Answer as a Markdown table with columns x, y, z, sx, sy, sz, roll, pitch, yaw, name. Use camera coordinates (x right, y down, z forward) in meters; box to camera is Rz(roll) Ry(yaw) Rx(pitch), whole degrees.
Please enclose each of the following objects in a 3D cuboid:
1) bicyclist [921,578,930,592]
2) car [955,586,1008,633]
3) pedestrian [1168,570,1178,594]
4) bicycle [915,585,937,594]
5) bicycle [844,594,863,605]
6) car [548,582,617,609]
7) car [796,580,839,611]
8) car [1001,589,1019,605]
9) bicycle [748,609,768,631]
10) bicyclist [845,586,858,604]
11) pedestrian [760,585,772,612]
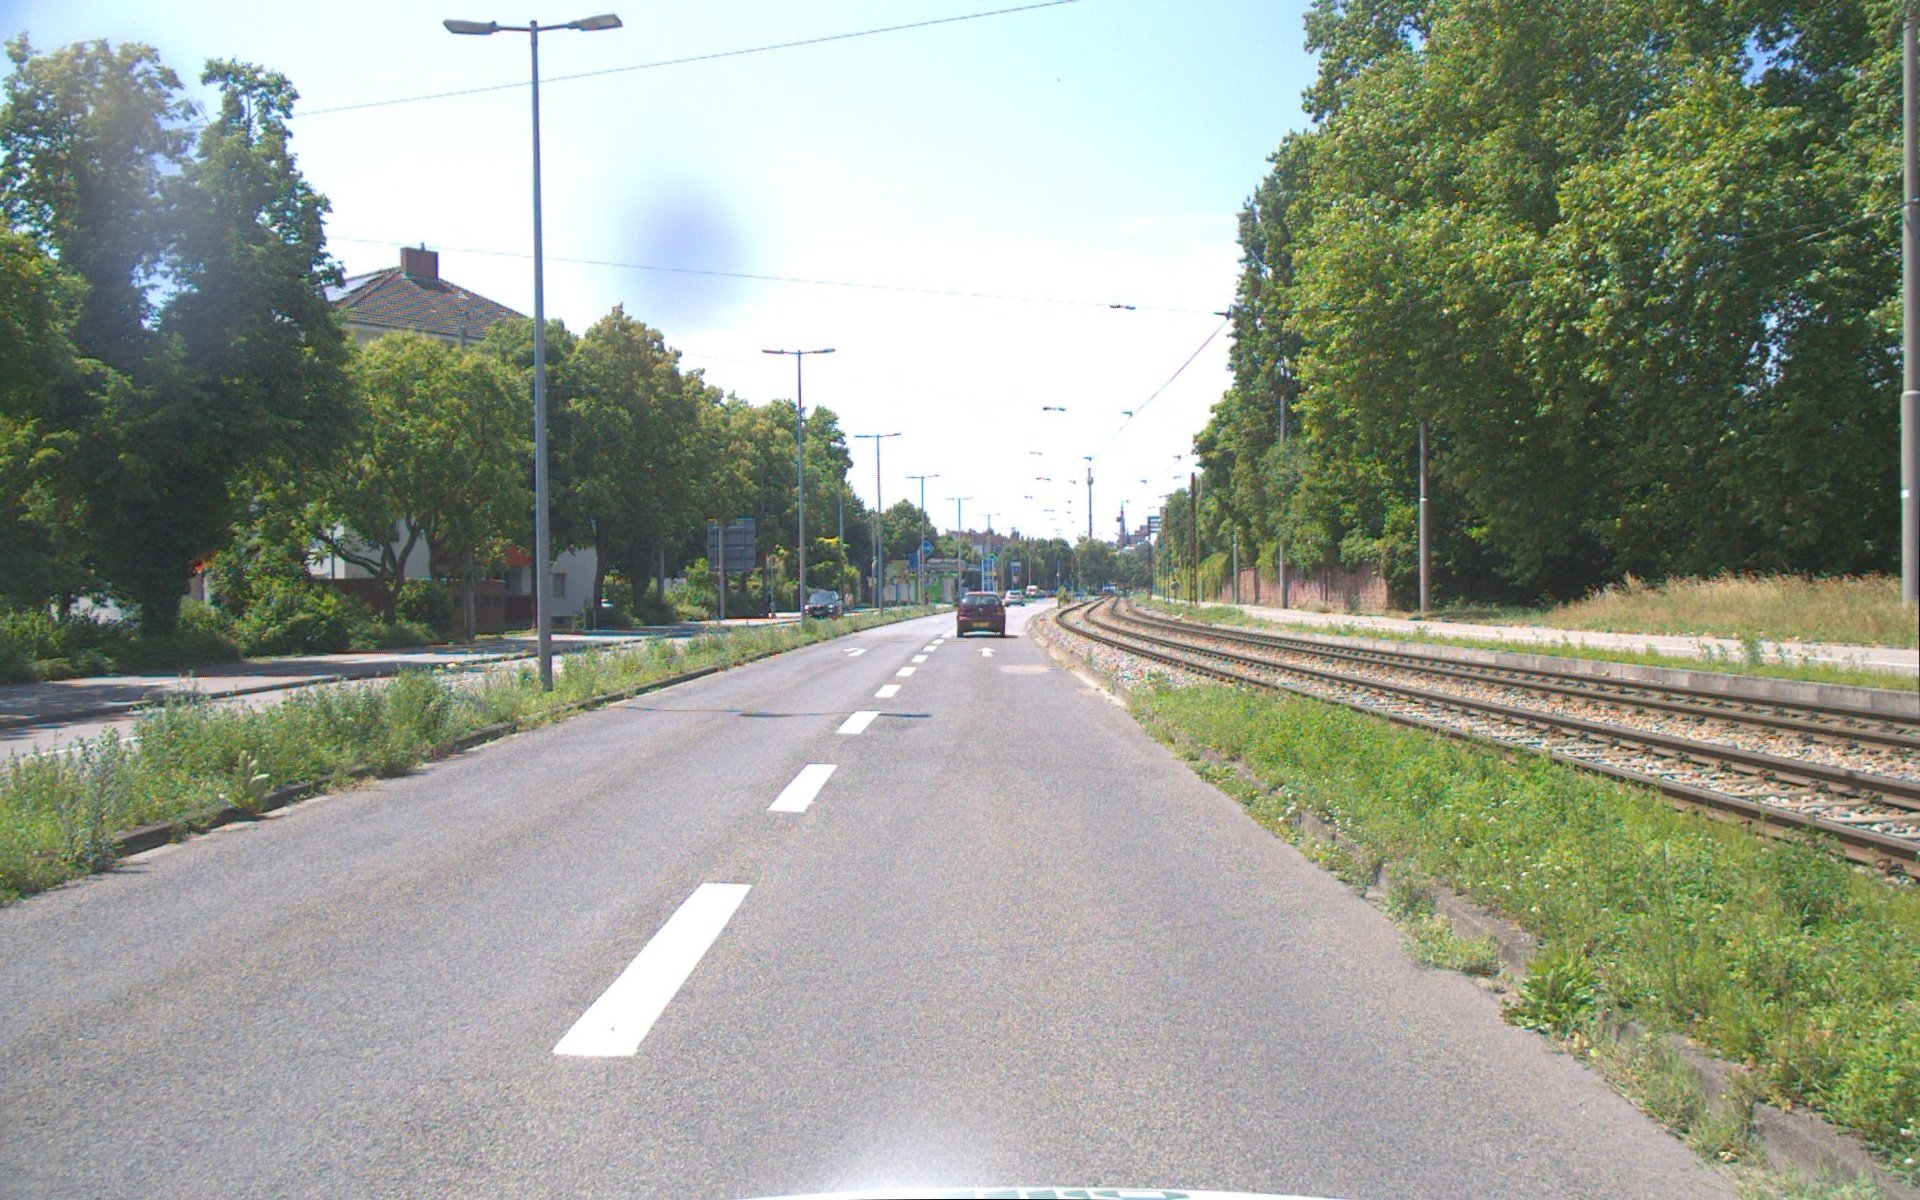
| x | y | z | sx | sy | sz | roll | pitch | yaw | name |
| --- | --- | --- | --- | --- | --- | --- | --- | --- | --- |
| -4.127 | -1.749 | 196.761 | 0.926 | 1.621 | 1.085 | 0 | 0 | -8 | bicyclist |
| 0.707 | 0.316 | 54.720 | 1.668 | 1.503 | 3.716 | -1 | -1 | 0 | car |
| 16.155 | -1.382 | 125.492 | 0.647 | 1.756 | 0.817 | -1 | 0 | 4 | pedestrian |
| -4.077 | -1.257 | 196.737 | 2.502 | 1.056 | 1.085 | 0 | 0 | -9 | bicycle |
| -8.460 | -0.057 | 131.634 | 1.416 | 0.787 | 0.491 | -3 | 1 | -37 | bicycle |
| -27.273 | -0.317 | 119.658 | 4.575 | 1.789 | 1.998 | -2 | 1 | -5 | car |
| -8.103 | -0.261 | 94.653 | 1.883 | 1.654 | 4.757 | -3 | 0 | 1 | car |
| 4.797 | -0.259 | 159.610 | 1.668 | 1.506 | 3.716 | 0 | 0 | 0 | car |
| -13.325 | 1.320 | 109.037 | 0.632 | 1.351 | 1.574 | -2 | 1 | 17 | bicycle |
| -8.622 | -0.384 | 131.512 | 0.953 | 1.427 | 0.485 | -2 | 1 | -36 | bicyclist |
| -12.789 | -0.088 | 109.049 | 0.537 | 1.748 | 0.604 | -2 | 0 | 18 | pedestrian |
